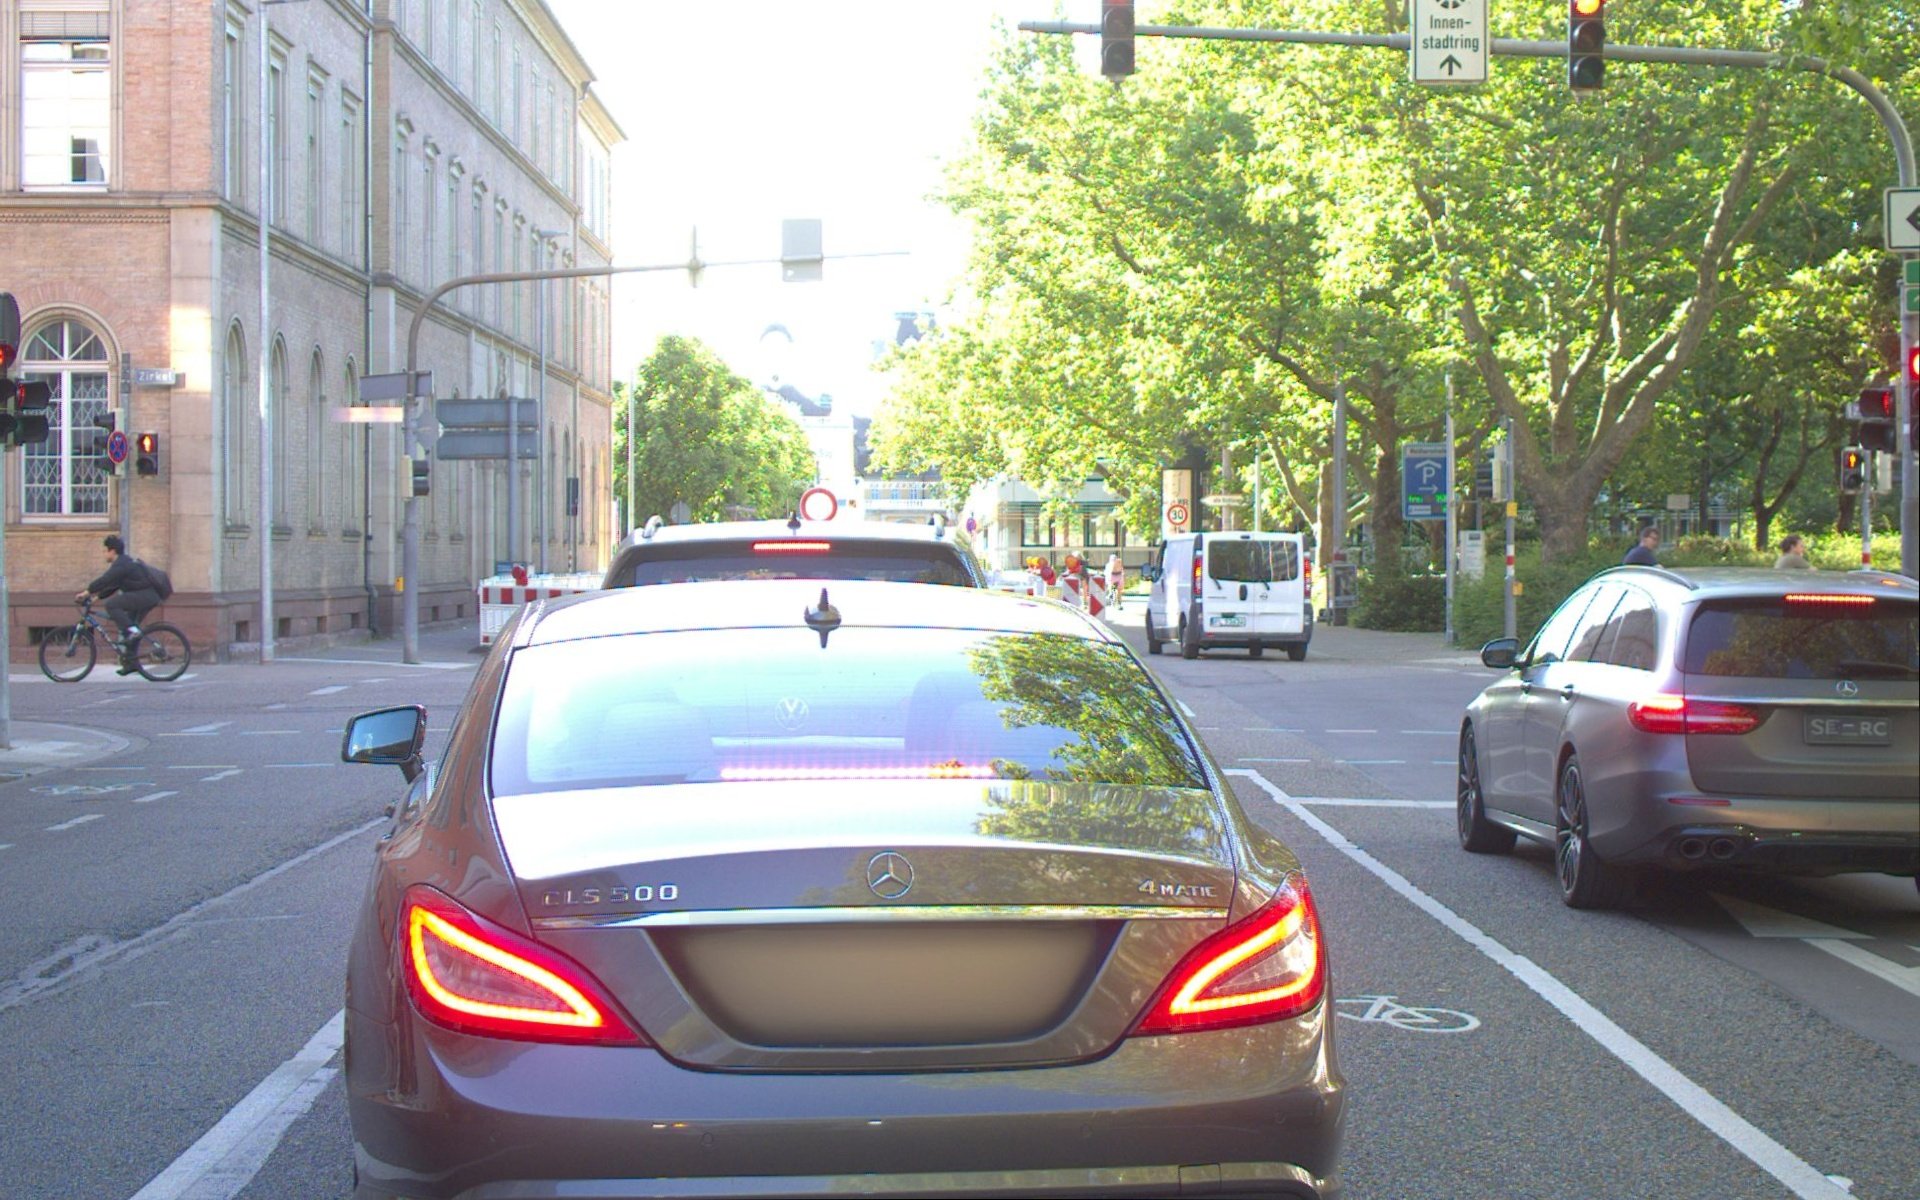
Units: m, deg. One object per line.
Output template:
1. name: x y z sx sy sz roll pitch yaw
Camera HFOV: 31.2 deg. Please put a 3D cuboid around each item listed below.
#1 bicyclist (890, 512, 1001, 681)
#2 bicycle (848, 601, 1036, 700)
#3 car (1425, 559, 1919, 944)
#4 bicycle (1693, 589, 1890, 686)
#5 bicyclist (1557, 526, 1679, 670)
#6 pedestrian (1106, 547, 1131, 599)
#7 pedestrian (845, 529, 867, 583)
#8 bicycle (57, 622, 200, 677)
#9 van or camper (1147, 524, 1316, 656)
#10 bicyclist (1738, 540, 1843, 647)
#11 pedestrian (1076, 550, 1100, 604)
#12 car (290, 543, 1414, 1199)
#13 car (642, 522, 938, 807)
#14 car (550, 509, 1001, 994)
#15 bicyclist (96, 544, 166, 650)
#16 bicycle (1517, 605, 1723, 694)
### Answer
1. bicyclist: -0.147 -0.038 33.908 1.014 1.637 0.608 0 1 -6
2. bicycle: -0.184 0.493 33.905 1.793 0.943 0.614 1 1 -6
3. car: 3.451 0.575 15.816 1.913 1.459 4.669 1 1 -1
4. bicycle: 9.034 0.403 37.409 1.980 1.024 0.651 0 1 1
5. bicyclist: 6.841 -0.028 35.762 1.116 1.485 0.712 0 1 -1
6. pedestrian: 4.369 -0.745 94.827 0.648 1.428 0.659 0 1 -1
7. pedestrian: -3.684 -1.567 121.920 0.721 1.895 0.704 1 1 -1
8. bicycle: -9.899 0.587 40.935 1.587 0.632 0.496 0 1 3
9. van or camper: 4.117 -0.187 52.782 1.993 1.935 4.595 0 1 -3
10. bicyclist: 9.025 -0.074 37.396 0.991 1.150 0.620 0 1 1
11. pedestrian: 3.533 -0.643 94.835 0.648 1.498 0.637 0 1 -1
12. car: -0.445 0.605 7.660 1.803 1.451 4.352 0 1 -8
13. car: -1.074 0.365 23.246 1.820 1.756 4.000 0 1 -1
14. car: -0.717 0.486 13.656 1.517 1.641 3.881 1 1 -3
15. bicyclist: -9.866 -0.041 40.925 0.704 1.256 0.457 0 1 3
16. bicycle: 6.855 0.508 35.773 1.986 0.900 0.734 0 1 -1
